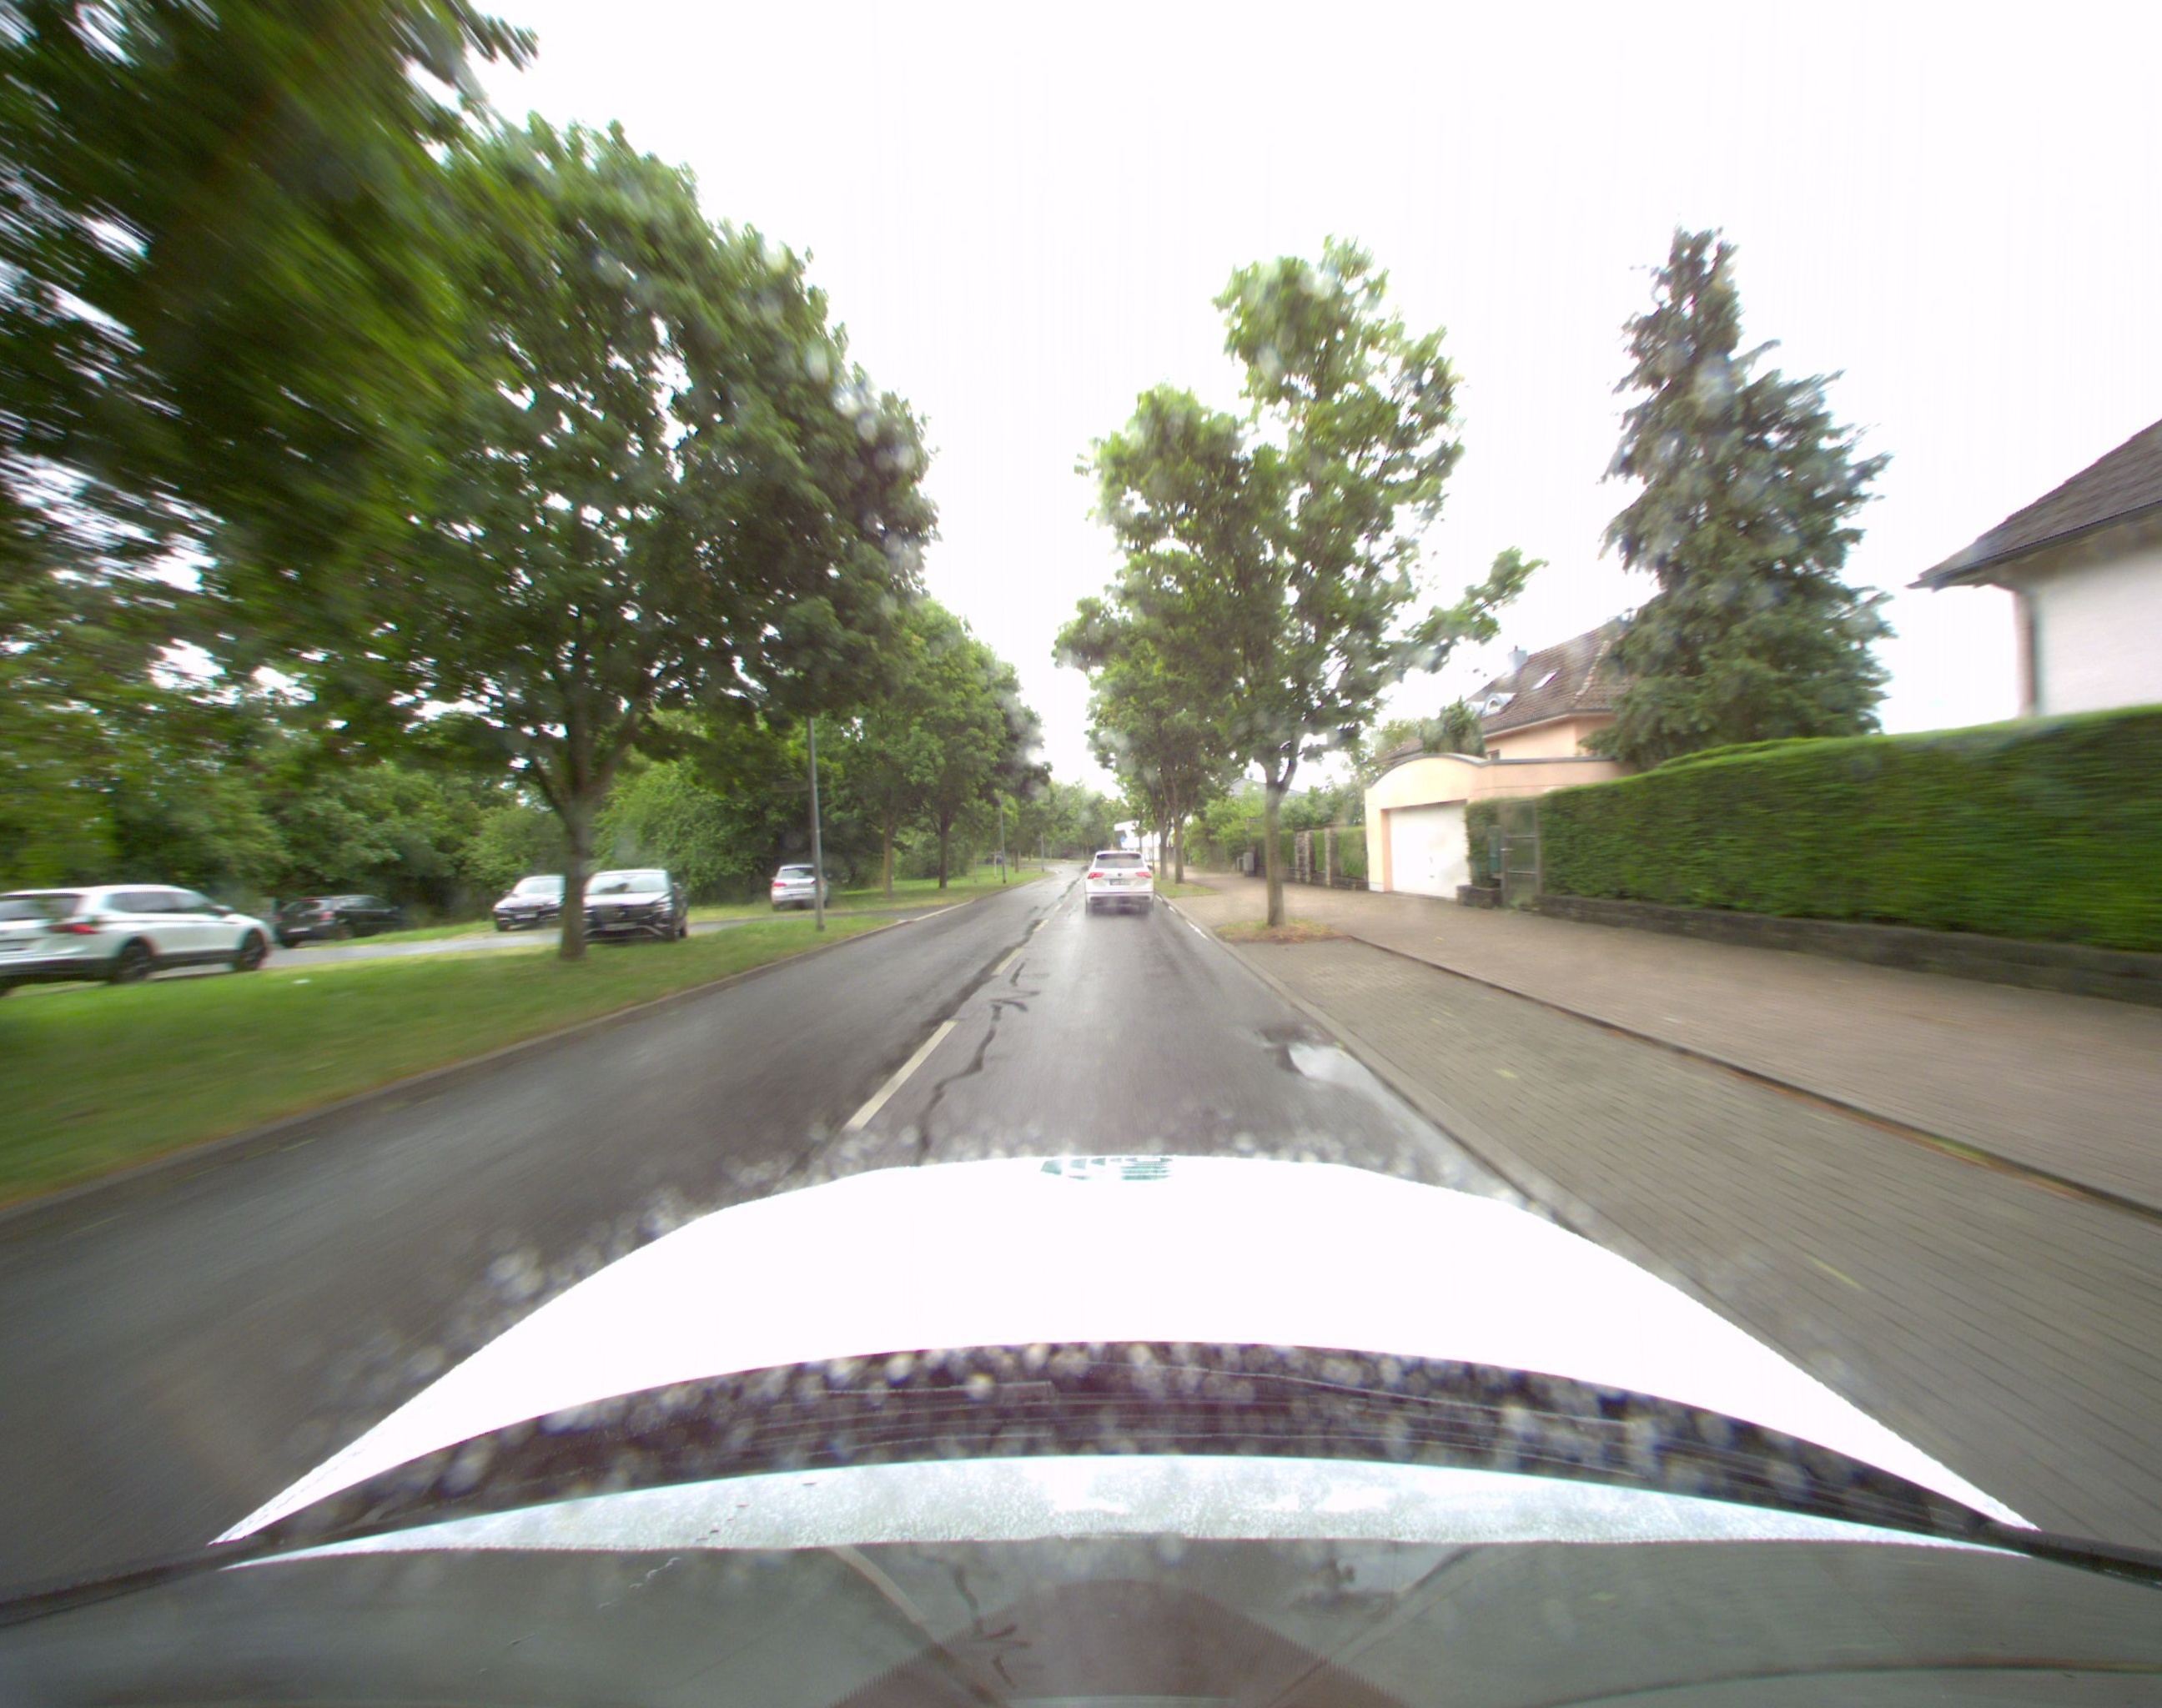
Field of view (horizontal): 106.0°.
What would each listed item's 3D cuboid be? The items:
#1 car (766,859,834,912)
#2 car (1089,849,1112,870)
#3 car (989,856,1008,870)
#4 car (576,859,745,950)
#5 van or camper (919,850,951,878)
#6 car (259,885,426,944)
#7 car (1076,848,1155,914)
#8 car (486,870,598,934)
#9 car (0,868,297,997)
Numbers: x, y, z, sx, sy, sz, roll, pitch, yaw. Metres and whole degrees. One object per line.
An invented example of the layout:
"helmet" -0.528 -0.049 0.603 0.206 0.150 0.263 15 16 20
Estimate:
"car" -9.466 0.994 27.722 1.885 1.429 4.194 -3 2 -16
"car" 1.873 0.512 80.964 1.898 2.014 3.938 0 0 -5
"car" -12.471 1.332 122.451 1.908 2.014 3.916 0 0 -22
"car" -8.260 0.895 16.446 1.890 1.514 4.232 -2 0 -12
"van or camper" -13.722 0.949 77.006 2.381 2.360 6.797 -3 0 -6
"car" -22.645 1.798 25.213 1.835 1.411 4.201 -3 0 -11
"car" 0.969 0.675 22.703 1.966 1.653 4.180 -1 0 2
"car" -16.473 1.387 25.146 1.869 1.508 4.574 -3 2 -21
"car" -16.044 1.251 13.853 1.909 1.770 4.868 -3 -2 -18
